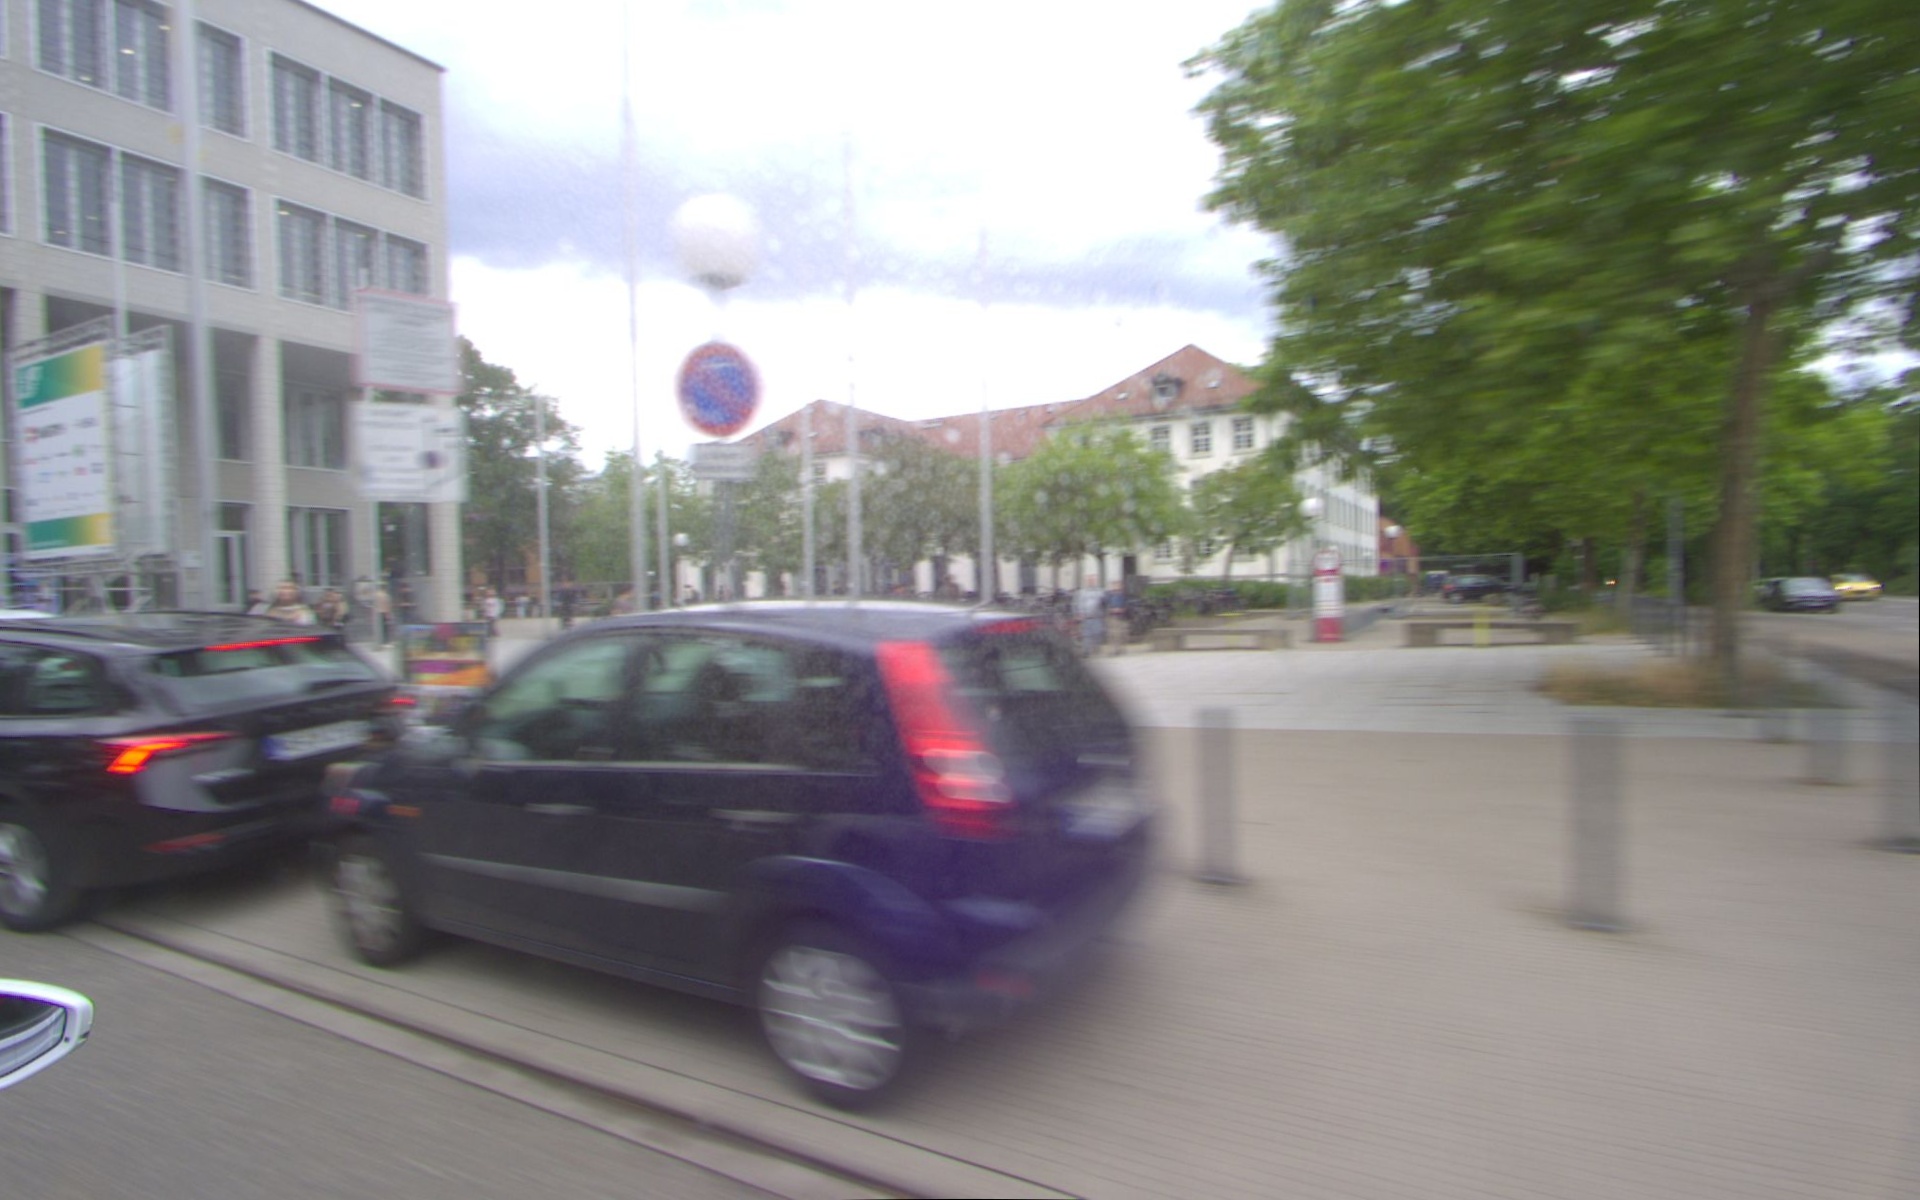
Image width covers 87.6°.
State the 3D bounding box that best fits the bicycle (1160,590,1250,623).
[{"bbox_3d":[9.821,0.251,40.210,3.348,1.186,1.049,2,1,36],"label":"bicycle"}]

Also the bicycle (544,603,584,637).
[{"bbox_3d":[-13.491,0.656,34.124,0.865,1.108,1.788,-1,1,-35],"label":"bicycle"}]

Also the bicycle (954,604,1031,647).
[{"bbox_3d":[0.829,0.652,25.621,1.900,1.064,0.456,0,2,16],"label":"bicycle"}]

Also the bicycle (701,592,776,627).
[{"bbox_3d":[-8.193,0.330,36.983,3.062,1.186,0.744,2,1,32],"label":"bicycle"}]

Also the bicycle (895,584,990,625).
[{"bbox_3d":[-0.585,0.136,31.539,3.062,1.186,0.744,2,1,32],"label":"bicycle"}]

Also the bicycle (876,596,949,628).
[{"bbox_3d":[-1.964,0.494,40.994,3.061,1.186,0.744,2,1,31],"label":"bicycle"}]

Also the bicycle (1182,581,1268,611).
[{"bbox_3d":[11.090,-0.152,42.030,3.349,1.185,1.048,-1,1,36],"label":"bicycle"}]

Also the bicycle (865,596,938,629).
[{"bbox_3d":[-2.371,0.487,40.333,3.061,1.186,0.744,2,1,31],"label":"bicycle"}]

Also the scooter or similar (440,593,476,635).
[{"bbox_3d":[-17.387,0.468,34.711,0.397,1.388,1.491,2,1,2],"label":"scooter or similar"}]

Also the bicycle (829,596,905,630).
[{"bbox_3d":[-3.569,0.471,38.180,3.062,1.186,0.744,2,1,32],"label":"bicycle"}]

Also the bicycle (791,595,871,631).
[{"bbox_3d":[-4.667,0.456,36.128,3.062,1.186,0.744,2,1,32],"label":"bicycle"}]

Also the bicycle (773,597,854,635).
[{"bbox_3d":[-5.185,0.548,35.372,3.062,1.186,0.744,2,1,32],"label":"bicycle"}]

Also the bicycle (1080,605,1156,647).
[{"bbox_3d":[4.093,0.666,26.015,1.904,1.064,0.455,0,2,26],"label":"bicycle"}]

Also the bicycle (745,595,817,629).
[{"bbox_3d":[-7.074,0.456,39.387,3.062,1.186,0.744,2,1,32],"label":"bicycle"}]

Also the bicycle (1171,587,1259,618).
[{"bbox_3d":[10.441,0.112,41.118,3.350,1.185,1.048,-2,0,36],"label":"bicycle"}]

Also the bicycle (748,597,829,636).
[{"bbox_3d":[-5.873,0.539,34.088,3.062,1.186,0.619,2,1,32],"label":"bicycle"}]

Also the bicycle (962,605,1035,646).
[{"bbox_3d":[1.030,0.676,26.718,1.900,1.064,0.456,0,2,16],"label":"bicycle"}]

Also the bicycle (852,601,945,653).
[{"bbox_3d":[-1.555,0.662,24.977,2.374,1.186,0.455,2,1,26],"label":"bicycle"}]

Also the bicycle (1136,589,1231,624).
[{"bbox_3d":[8.460,0.230,37.983,3.348,1.186,1.049,2,1,36],"label":"bicycle"}]

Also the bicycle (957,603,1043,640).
[{"bbox_3d":[1.411,0.743,35.600,3.062,1.186,0.744,2,1,32],"label":"bicycle"}]

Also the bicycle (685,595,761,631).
[{"bbox_3d":[-8.604,0.471,36.315,3.062,1.186,0.744,2,1,32],"label":"bicycle"}]

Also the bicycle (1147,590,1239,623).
[{"bbox_3d":[9.094,0.239,39.166,3.348,1.186,1.049,2,1,36],"label":"bicycle"}]

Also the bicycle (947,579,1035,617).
[{"bbox_3d":[1.034,-0.083,34.492,3.062,1.186,0.744,2,1,32],"label":"bicycle"}]

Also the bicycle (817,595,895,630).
[{"bbox_3d":[-3.904,0.467,37.471,3.062,1.186,0.744,2,1,32],"label":"bicycle"}]

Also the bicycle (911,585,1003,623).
[{"bbox_3d":[-0.106,0.129,32.602,3.063,1.186,0.744,-1,1,32],"label":"bicycle"}]

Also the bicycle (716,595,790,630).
[{"bbox_3d":[-7.814,0.449,37.670,3.062,1.186,0.744,2,1,32],"label":"bicycle"}]

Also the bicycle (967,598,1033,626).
[{"bbox_3d":[1.831,0.557,46.607,3.061,1.186,0.744,2,1,31],"label":"bicycle"}]

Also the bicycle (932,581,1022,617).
[{"bbox_3d":[0.540,-0.026,33.592,3.063,1.186,0.744,-1,1,32],"label":"bicycle"}]

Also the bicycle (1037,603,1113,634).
[{"bbox_3d":[4.727,0.748,41.343,3.062,1.186,0.744,2,1,32],"label":"bicycle"}]

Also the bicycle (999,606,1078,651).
[{"bbox_3d":[1.933,0.693,24.779,1.904,1.064,0.455,0,2,26],"label":"bicycle"}]

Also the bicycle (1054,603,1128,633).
[{"bbox_3d":[5.596,0.760,42.952,3.062,1.186,0.744,2,1,32],"label":"bicycle"}]

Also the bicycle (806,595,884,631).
[{"bbox_3d":[-4.246,0.463,36.783,3.062,1.186,0.744,2,1,32],"label":"bicycle"}]
